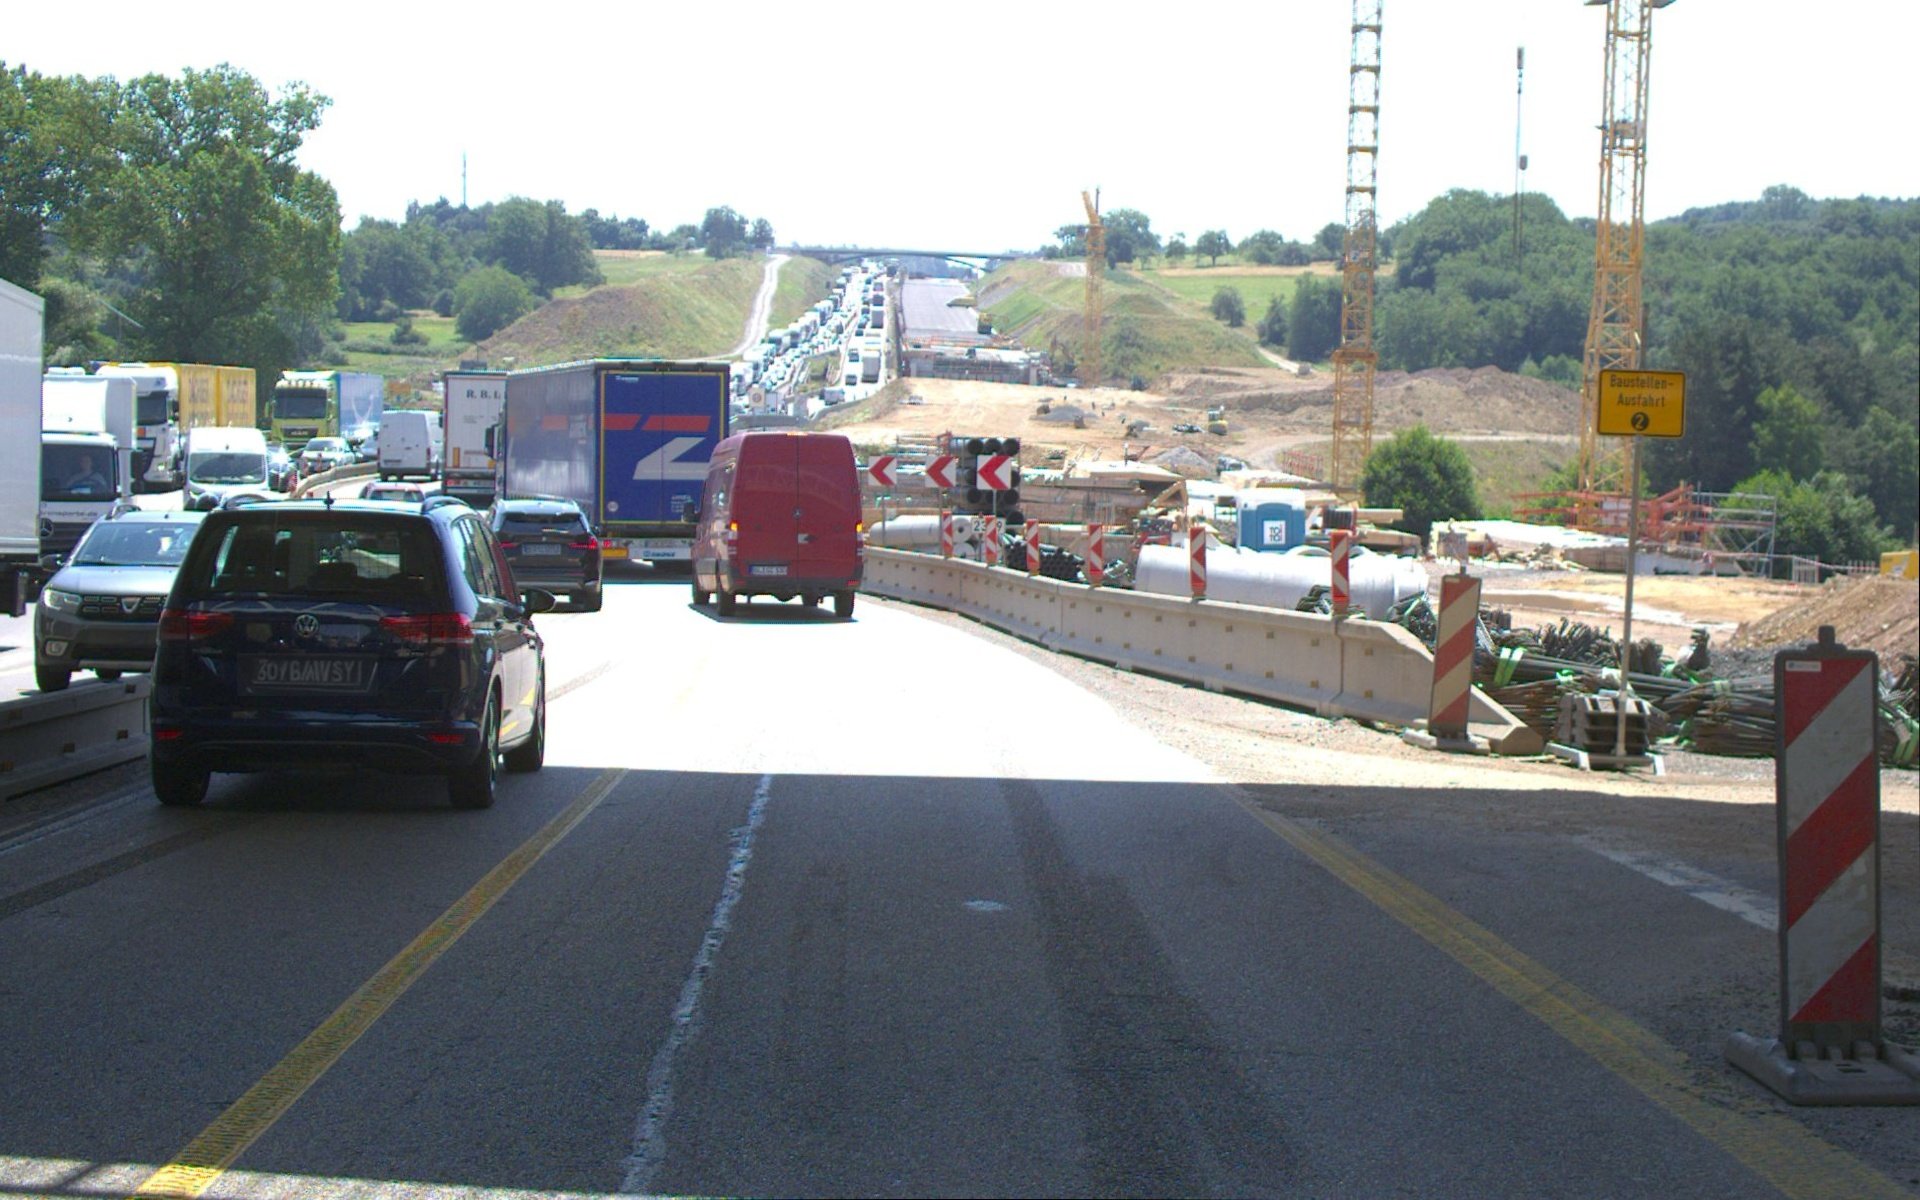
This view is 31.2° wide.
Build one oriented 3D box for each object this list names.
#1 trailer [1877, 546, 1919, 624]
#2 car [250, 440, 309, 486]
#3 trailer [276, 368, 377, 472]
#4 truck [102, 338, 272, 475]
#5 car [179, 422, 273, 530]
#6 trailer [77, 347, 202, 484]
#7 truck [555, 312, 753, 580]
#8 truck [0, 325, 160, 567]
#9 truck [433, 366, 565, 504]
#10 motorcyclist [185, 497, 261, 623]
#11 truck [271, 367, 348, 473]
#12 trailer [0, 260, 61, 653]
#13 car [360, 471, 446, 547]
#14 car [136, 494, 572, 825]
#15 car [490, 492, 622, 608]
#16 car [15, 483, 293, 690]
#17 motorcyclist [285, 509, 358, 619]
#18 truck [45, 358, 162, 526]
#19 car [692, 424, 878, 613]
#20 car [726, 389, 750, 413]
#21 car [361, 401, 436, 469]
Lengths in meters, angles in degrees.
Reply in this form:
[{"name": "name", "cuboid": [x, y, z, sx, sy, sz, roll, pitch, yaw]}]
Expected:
[{"name": "trailer", "cuboid": [19.411, -0.264, 67.227, 1.623, 1.481, 3.827, 2, 1, -4]}, {"name": "car", "cuboid": [-22.117, -4.468, 111.804, 1.676, 1.357, 4.505, 1, 3, -9]}, {"name": "trailer", "cuboid": [-27.912, -7.924, 152.060, 2.647, 4.277, 13.312, 2, 2, -3]}, {"name": "truck", "cuboid": [-26.452, -6.608, 118.505, 2.806, 4.327, 15.378, 2, 3, -2]}, {"name": "car", "cuboid": [-17.967, -2.981, 83.960, 2.070, 2.495, 6.486, 1, 1, -13]}, {"name": "trailer", "cuboid": [-26.143, -5.854, 109.704, 2.865, 4.214, 5.220, 1, 2, -2]}, {"name": "truck", "cuboid": [-6.078, -3.047, 67.305, 2.944, 4.928, 6.744, 1, 3, -12]}, {"name": "truck", "cuboid": [-14.740, -2.442, 55.544, 2.816, 3.563, 8.501, 1, 2, -18]}, {"name": "truck", "cuboid": [-13.859, -5.010, 103.859, 3.182, 3.975, 6.743, 1, 3, -1]}, {"name": "motorcyclist", "cuboid": [-8.430, -0.453, 39.342, 0.718, 1.411, 0.743, 1, 0, -3]}, {"name": "truck", "cuboid": [-27.450, -7.590, 145.202, 2.625, 4.255, 4.733, 2, 2, -5]}, {"name": "trailer", "cuboid": [-10.916, -1.409, 31.479, 2.876, 4.026, 14.362, 3, 1, -6]}, {"name": "car", "cuboid": [-12.769, -2.100, 78.599, 1.833, 1.629, 4.107, 1, 2, -10]}, {"name": "car", "cuboid": [-3.287, 0.232, 19.426, 1.734, 1.629, 4.390, 1, 2, -1]}, {"name": "car", "cuboid": [-6.051, -0.793, 51.909, 1.833, 1.629, 4.391, 1, 2, -5]}, {"name": "car", "cuboid": [-6.975, -0.174, 30.112, 1.746, 1.665, 4.080, 1, 2, -4]}, {"name": "motorcyclist", "cuboid": [-8.326, -0.467, 44.847, 0.810, 1.411, 0.743, 1, 0, -3]}, {"name": "truck", "cuboid": [-20.592, -3.764, 82.667, 2.533, 3.808, 4.952, 2, 1, -14]}, {"name": "car", "cuboid": [-2.649, -1.249, 50.769, 2.149, 2.602, 5.440, 1, 2, -9]}, {"name": "car", "cuboid": [-16.606, -14.897, 257.464, 1.617, 1.693, 3.891, 2, 3, -2]}, {"name": "car", "cuboid": [-20.317, -5.995, 124.644, 2.264, 2.346, 5.161, 1, 3, -5]}]
